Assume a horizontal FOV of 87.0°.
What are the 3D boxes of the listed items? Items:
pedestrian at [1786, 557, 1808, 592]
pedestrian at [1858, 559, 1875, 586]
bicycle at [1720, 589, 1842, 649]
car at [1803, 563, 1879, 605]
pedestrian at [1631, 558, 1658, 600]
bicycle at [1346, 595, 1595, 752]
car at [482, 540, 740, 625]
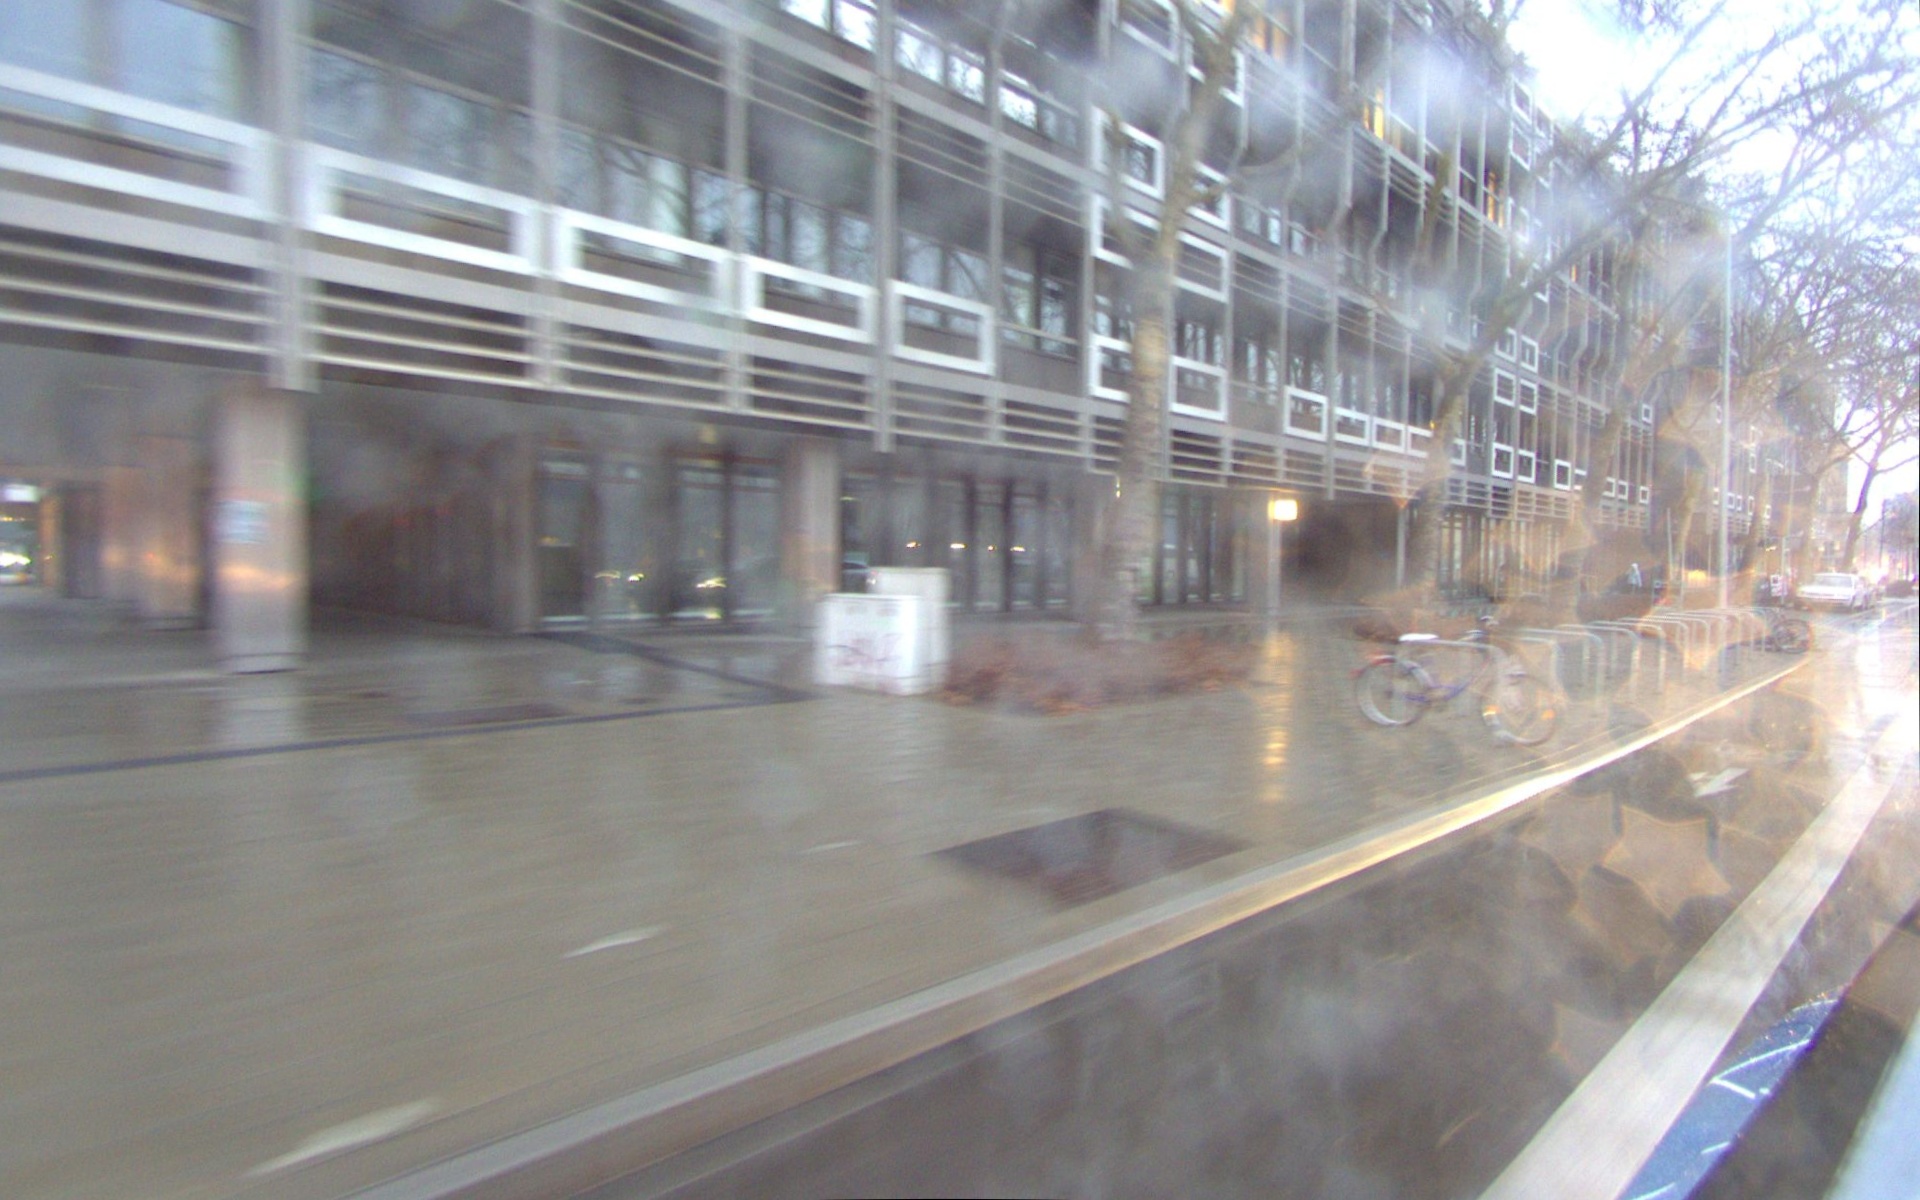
[{"bbox_3d":[42.645,-1.321,51.575,0.764,1.771,0.914,2,3,44],"label":"pedestrian"},{"bbox_3d":[60.692,-1.824,67.759,0.764,1.771,0.914,2,3,44],"label":"pedestrian"},{"bbox_3d":[16.076,0.342,19.841,0.864,1.004,1.703,-2,5,-41],"label":"bicycle"},{"bbox_3d":[33.445,-0.629,38.375,3.932,1.482,1.711,-2,2,-42],"label":"car"},{"bbox_3d":[29.259,-0.899,43.272,0.764,1.771,0.914,2,3,44],"label":"pedestrian"},{"bbox_3d":[4.435,0.582,8.914,0.629,1.145,1.810,1,3,-41],"label":"bicycle"},{"bbox_3d":[-6.177,-0.370,18.118,3.930,1.326,1.998,-2,4,-41],"label":"car"}]
